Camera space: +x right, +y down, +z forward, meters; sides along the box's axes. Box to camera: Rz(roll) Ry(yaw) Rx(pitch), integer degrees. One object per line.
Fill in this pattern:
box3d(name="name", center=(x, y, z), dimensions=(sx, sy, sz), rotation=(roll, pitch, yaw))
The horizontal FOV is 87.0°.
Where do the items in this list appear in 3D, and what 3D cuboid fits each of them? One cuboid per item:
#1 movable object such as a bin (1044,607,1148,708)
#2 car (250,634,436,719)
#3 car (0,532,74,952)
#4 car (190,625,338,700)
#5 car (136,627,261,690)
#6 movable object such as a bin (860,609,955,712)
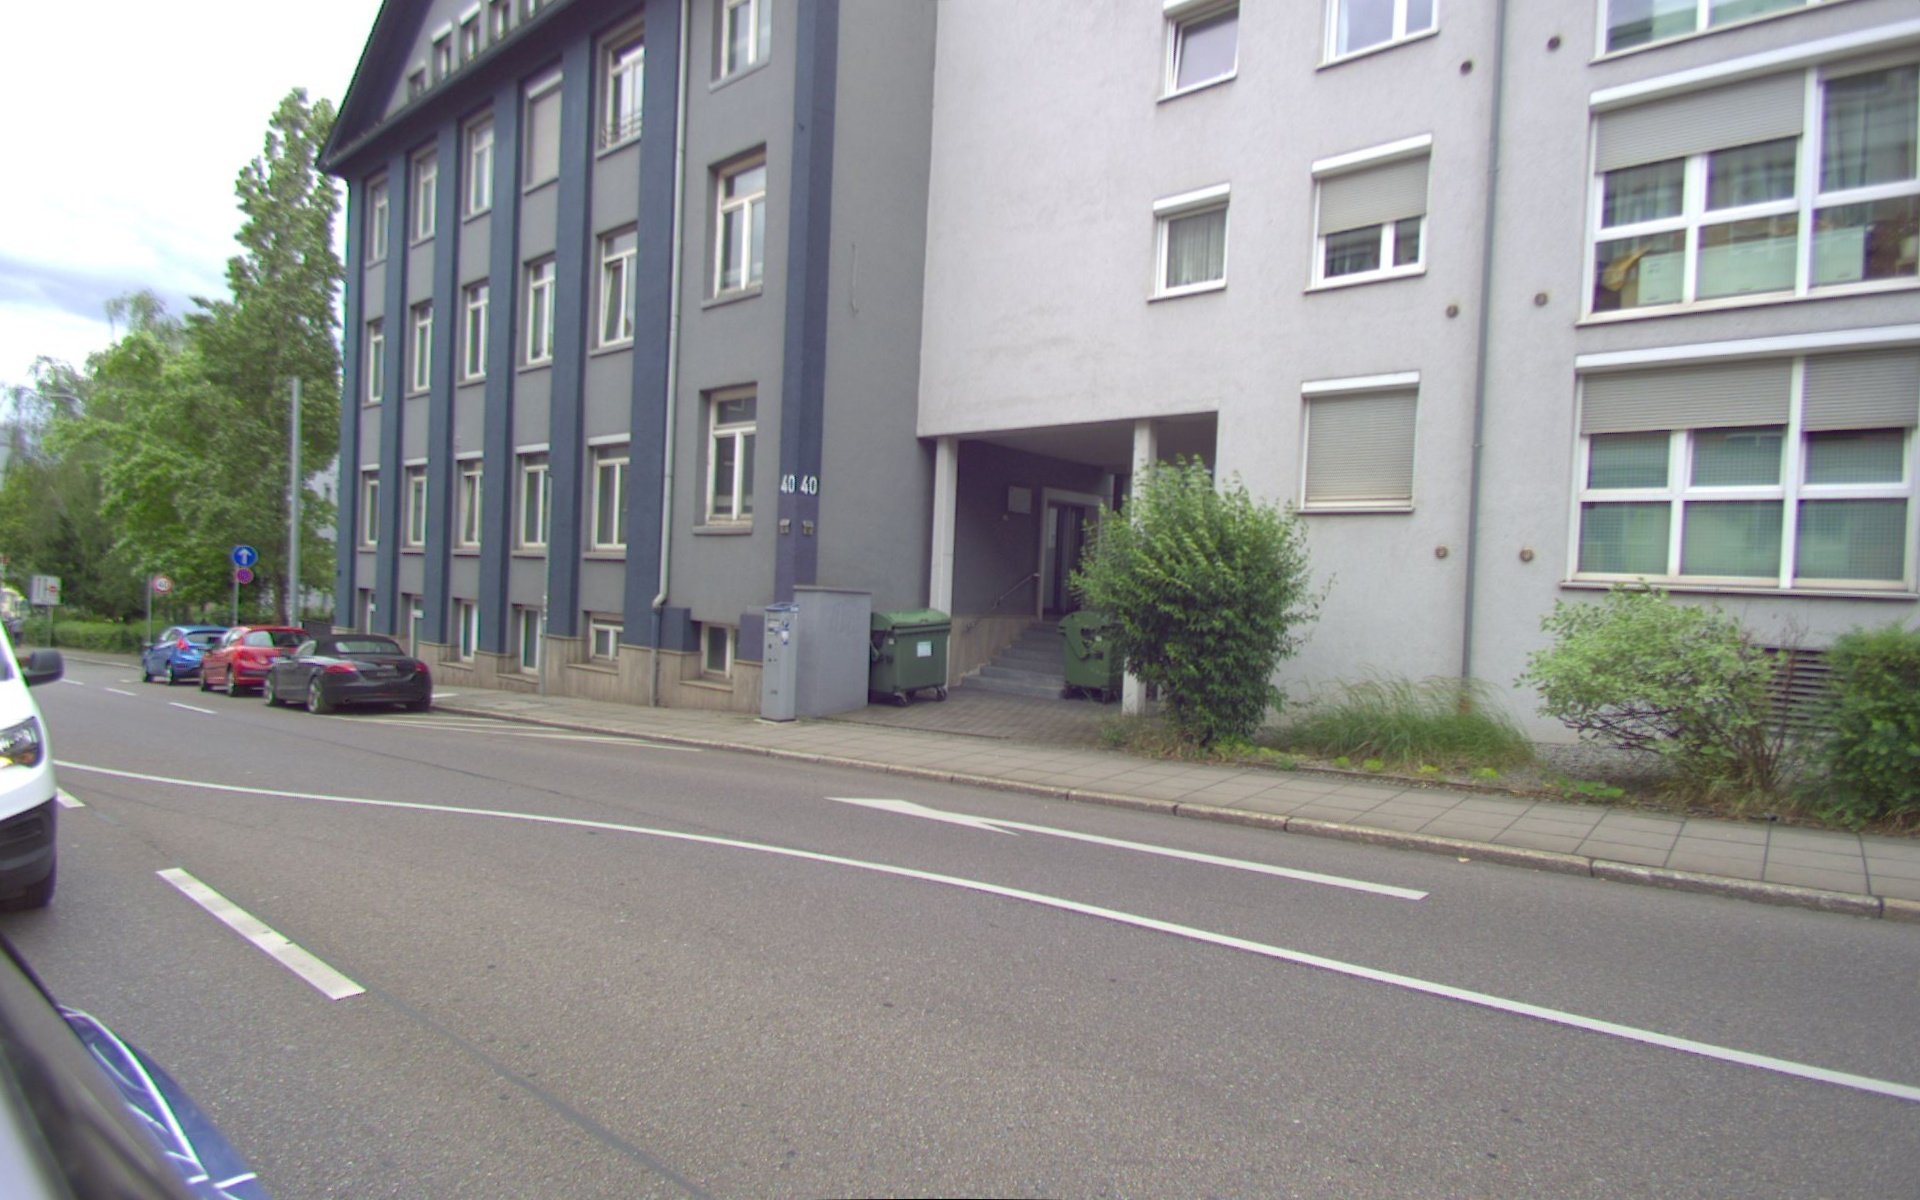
box3d(name="movable object such as a bin", center=(2.232, 0.911, 16.610), dimensions=(1.190, 1.489, 1.132), rotation=(5, 2, 41))
box3d(name="car", center=(-11.122, 1.313, 18.136), dimensions=(4.040, 1.337, 1.701), rotation=(-1, -4, 42))
box3d(name="car", center=(-6.459, 0.666, 5.532), dimensions=(4.937, 1.821, 1.816), rotation=(-1, 0, 42))
box3d(name="car", center=(-15.243, 1.334, 22.096), dimensions=(3.868, 1.485, 1.795), rotation=(-2, -4, 43))
box3d(name="car", center=(-19.360, 1.444, 25.683), dimensions=(3.724, 1.465, 1.702), rotation=(-1, -3, 40))
box3d(name="movable object such as a bin", center=(-0.801, 0.904, 15.697), dimensions=(0.784, 1.467, 1.251), rotation=(0, 1, 44))
